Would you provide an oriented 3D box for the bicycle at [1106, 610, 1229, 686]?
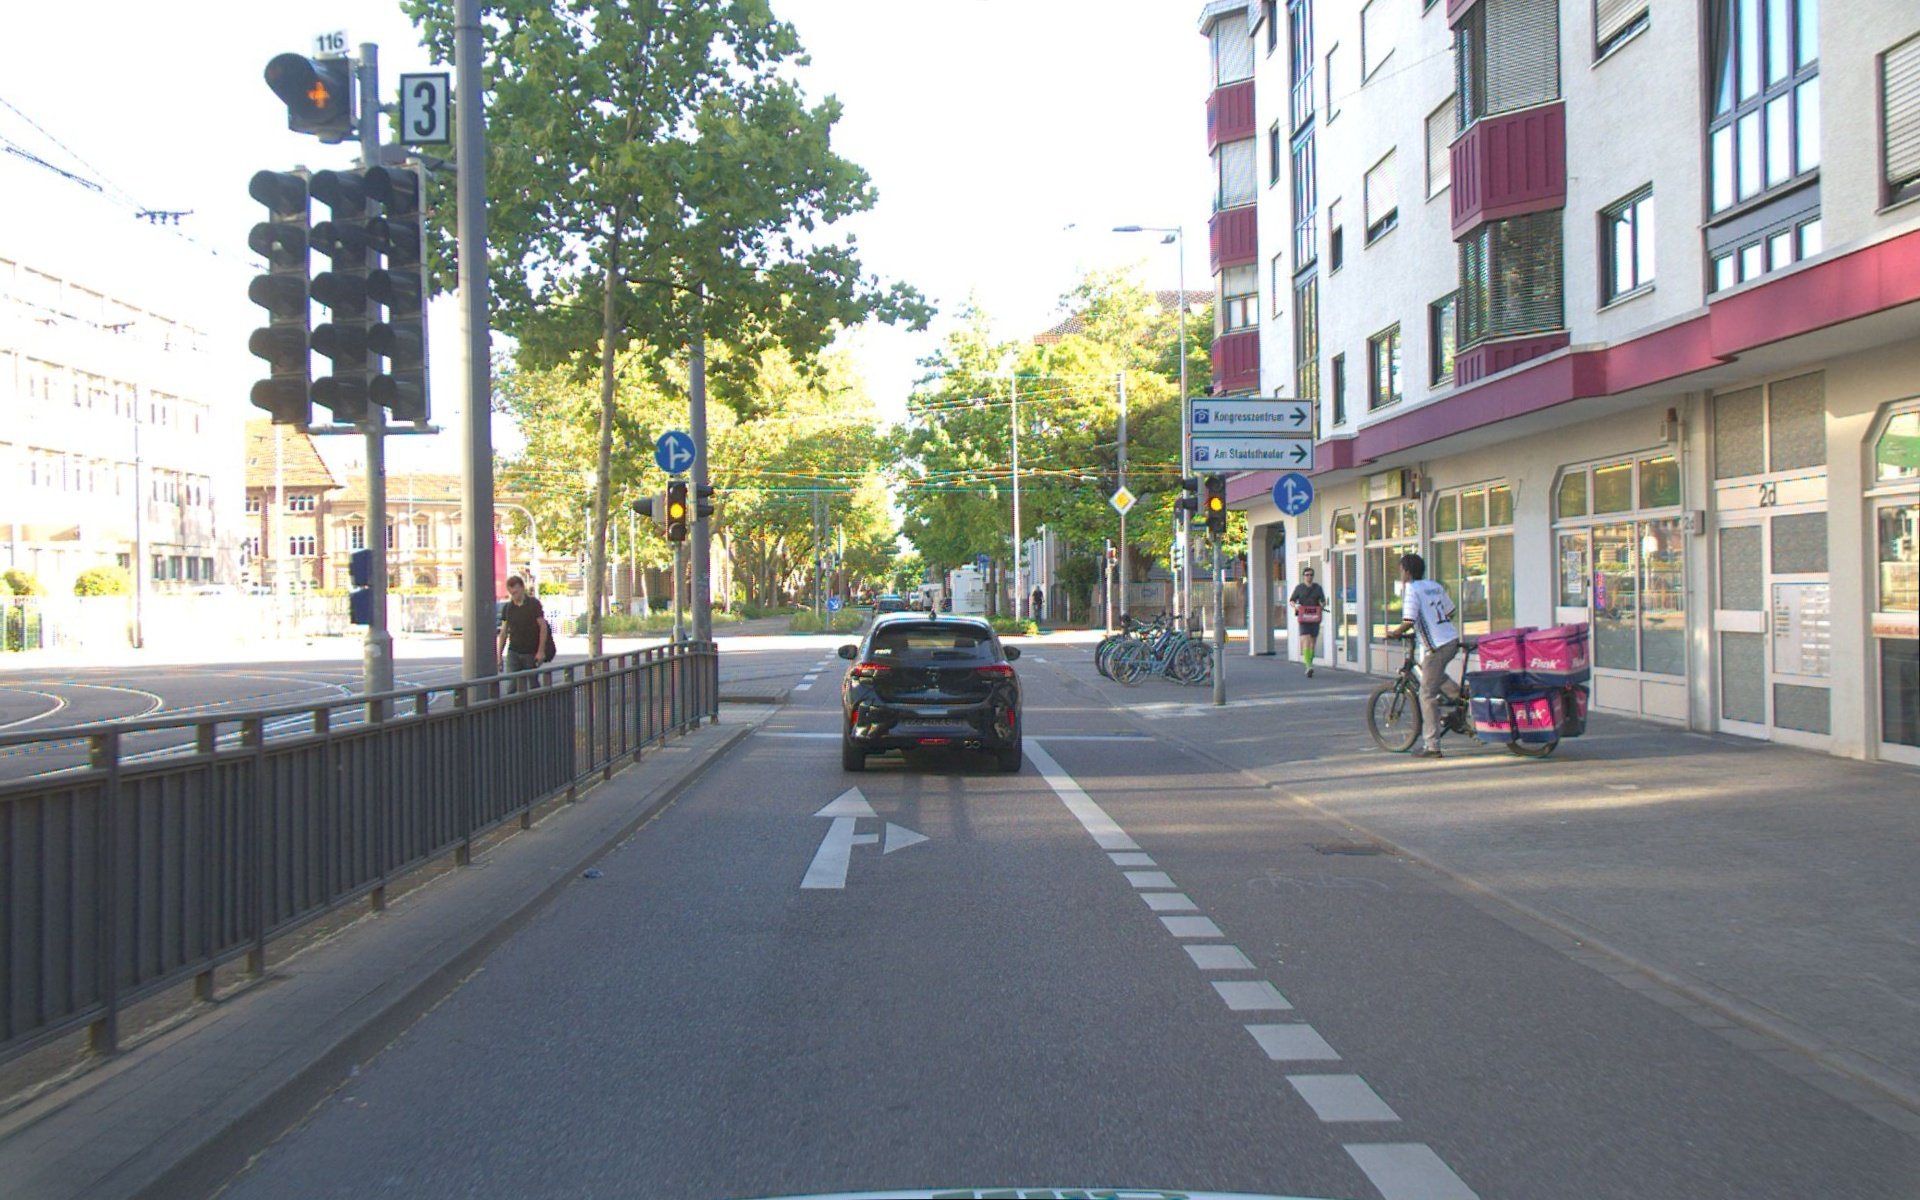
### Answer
[{"bbox_3d":[3.395,0.778,27.119,1.902,1.191,0.572,-1,0,-5],"label":"bicycle"}]

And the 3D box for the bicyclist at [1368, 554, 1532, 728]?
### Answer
[{"bbox_3d":[4.616,0.366,15.603,1.050,1.567,1.064,-1,0,-39],"label":"bicyclist"}]

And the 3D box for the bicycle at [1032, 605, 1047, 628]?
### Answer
[{"bbox_3d":[3.876,0.793,80.605,0.626,1.089,1.951,-2,0,1],"label":"bicycle"}]

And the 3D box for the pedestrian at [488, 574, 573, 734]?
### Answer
[{"bbox_3d":[-4.860,0.598,18.746,0.719,1.777,0.712,-1,0,3],"label":"pedestrian"}]

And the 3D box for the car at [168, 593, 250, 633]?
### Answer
[{"bbox_3d":[-40.056,0.679,88.332,1.952,2.049,4.726,-1,0,3],"label":"car"}]

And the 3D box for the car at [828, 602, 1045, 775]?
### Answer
[{"bbox_3d":[-0.230,0.773,16.536,1.866,1.450,4.214,-1,0,-1],"label":"car"}]

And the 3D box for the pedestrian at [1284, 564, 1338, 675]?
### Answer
[{"bbox_3d":[6.080,0.330,28.709,0.708,1.890,0.800,-1,0,-2],"label":"pedestrian"}]

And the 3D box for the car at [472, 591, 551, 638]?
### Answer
[{"bbox_3d":[-19.780,0.609,73.193,1.951,1.982,4.427,-1,0,5],"label":"car"}]

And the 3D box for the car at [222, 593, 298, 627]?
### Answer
[{"bbox_3d":[-37.157,0.511,87.916,1.952,1.733,4.379,-1,0,3],"label":"car"}]

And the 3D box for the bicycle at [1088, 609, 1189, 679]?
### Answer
[{"bbox_3d":[3.226,0.795,29.939,1.764,1.220,0.546,-1,-1,3],"label":"bicycle"}]

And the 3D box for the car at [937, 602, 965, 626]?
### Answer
[{"bbox_3d":[-0.638,0.925,110.983,1.754,1.536,3.873,-3,0,-1],"label":"car"}]

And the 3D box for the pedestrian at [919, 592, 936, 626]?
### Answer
[{"bbox_3d":[-1.972,0.552,99.891,1.015,2.059,1.212,-1,0,-3],"label":"pedestrian"}]

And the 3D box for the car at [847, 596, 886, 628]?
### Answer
[{"bbox_3d":[-4.946,0.634,88.054,1.954,1.656,4.468,1,0,-3],"label":"car"}]

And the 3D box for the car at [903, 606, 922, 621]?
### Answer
[{"bbox_3d":[-4.931,1.416,171.879,1.866,1.450,4.214,-1,0,-1],"label":"car"}]

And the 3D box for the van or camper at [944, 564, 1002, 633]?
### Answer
[{"bbox_3d":[0.597,-0.060,84.230,2.328,3.179,7.546,-4,0,-3],"label":"van or camper"}]

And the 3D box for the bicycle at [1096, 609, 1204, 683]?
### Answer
[{"bbox_3d":[3.276,0.789,28.622,1.793,1.242,0.496,-1,0,2],"label":"bicycle"}]

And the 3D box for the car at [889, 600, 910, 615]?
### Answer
[{"bbox_3d":[-5.938,0.732,162.679,1.866,1.450,4.214,-1,0,-1],"label":"car"}]

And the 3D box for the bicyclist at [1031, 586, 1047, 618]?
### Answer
[{"bbox_3d":[3.867,0.118,80.620,0.733,1.536,0.702,-1,0,0],"label":"bicyclist"}]

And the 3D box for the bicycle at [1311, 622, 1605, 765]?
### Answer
[{"bbox_3d":[4.631,0.828,15.584,0.954,1.204,2.562,-1,0,-38],"label":"bicycle"}]

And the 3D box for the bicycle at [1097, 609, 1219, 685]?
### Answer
[{"bbox_3d":[3.315,0.779,27.738,1.939,1.220,0.590,-1,0,-6],"label":"bicycle"}]

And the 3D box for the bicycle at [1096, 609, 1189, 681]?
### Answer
[{"bbox_3d":[3.215,0.785,29.191,1.589,1.220,0.496,-1,0,3],"label":"bicycle"}]

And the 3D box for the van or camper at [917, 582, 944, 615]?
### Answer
[{"bbox_3d":[-2.803,-0.120,157.576,2.436,3.046,5.433,1,0,-1],"label":"van or camper"}]

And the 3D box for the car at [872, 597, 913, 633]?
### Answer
[{"bbox_3d":[-3.150,0.696,77.335,1.795,1.651,4.283,0,0,-1],"label":"car"}]
